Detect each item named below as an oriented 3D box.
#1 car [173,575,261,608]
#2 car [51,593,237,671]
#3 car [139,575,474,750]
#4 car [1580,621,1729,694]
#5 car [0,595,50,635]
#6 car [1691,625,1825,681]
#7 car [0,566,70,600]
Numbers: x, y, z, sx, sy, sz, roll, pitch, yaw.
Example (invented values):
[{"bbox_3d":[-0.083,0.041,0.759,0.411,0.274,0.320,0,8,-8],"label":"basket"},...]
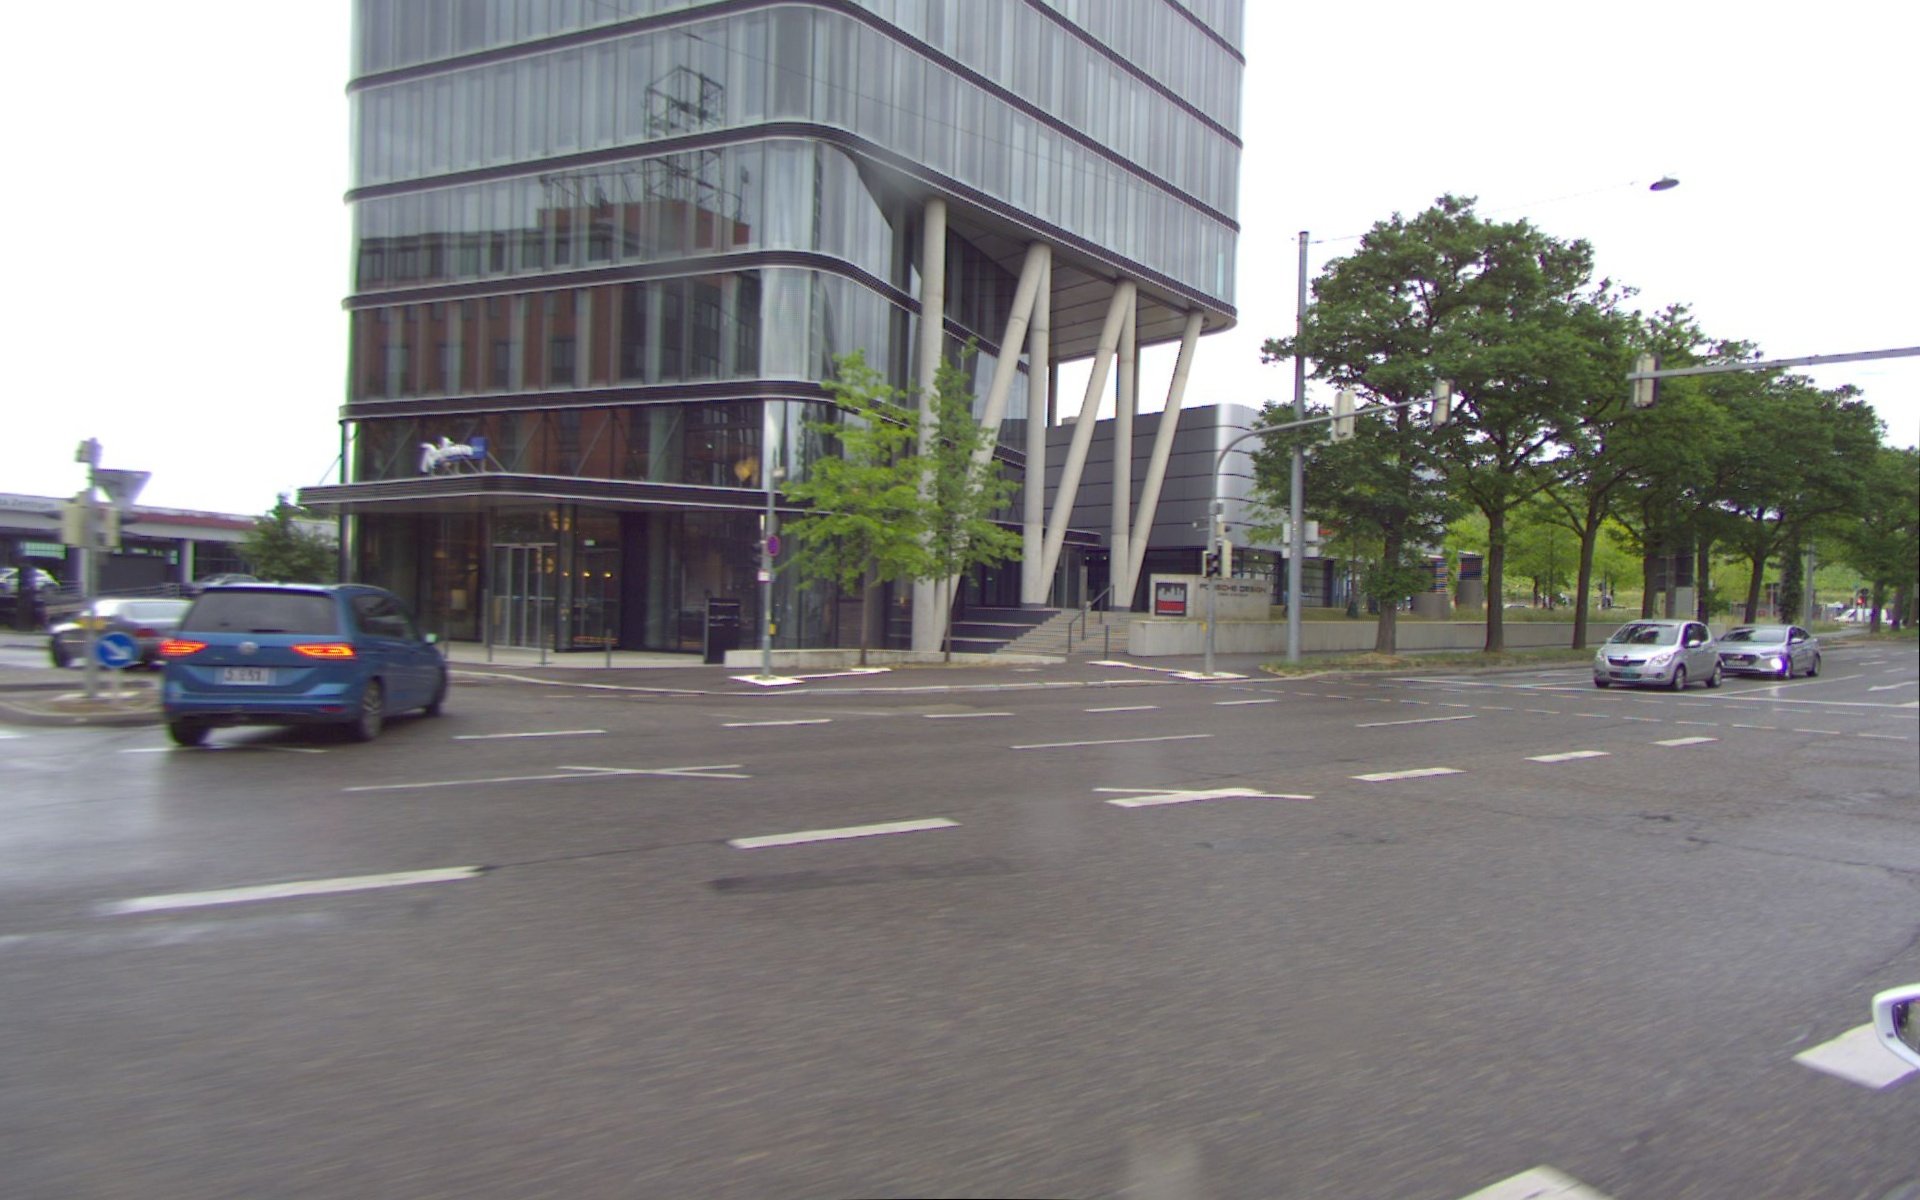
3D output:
[{"bbox_3d":[-45.738,-0.518,61.923,1.765,1.874,4.000,1,-1,21],"label":"car"},{"bbox_3d":[-17.924,0.670,22.031,3.976,1.530,1.849,1,-1,30],"label":"car"},{"bbox_3d":[-7.102,0.651,11.497,1.747,1.617,4.188,2,-2,-12],"label":"car"},{"bbox_3d":[16.049,1.273,23.168,3.782,1.540,1.737,1,-1,-37],"label":"car"},{"bbox_3d":[-45.405,0.668,46.142,1.764,1.839,4.998,1,-2,25],"label":"car"},{"bbox_3d":[22.030,1.403,27.671,4.612,1.430,1.801,1,-2,-37],"label":"car"},{"bbox_3d":[-50.155,-0.926,53.419,1.782,1.672,3.815,1,-1,21],"label":"car"}]
